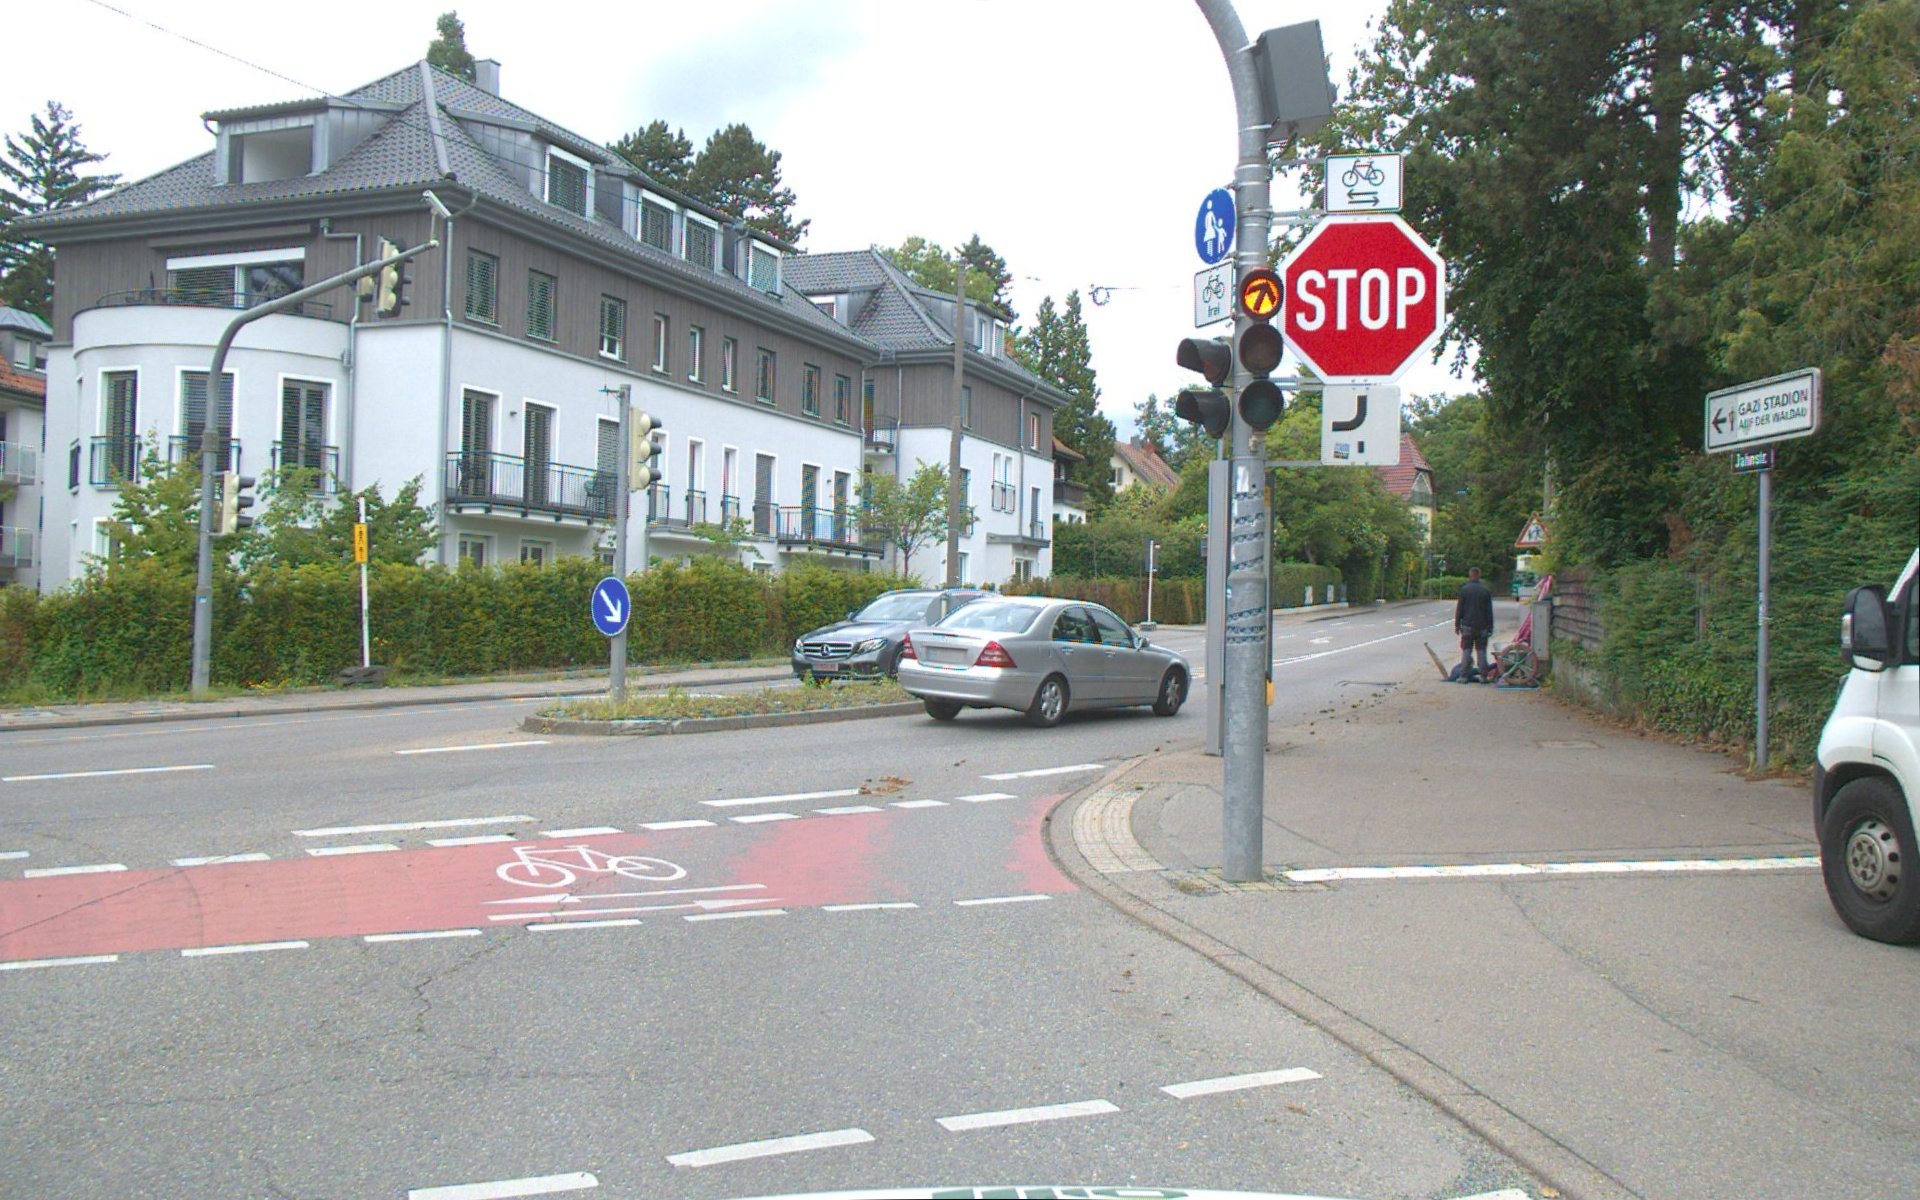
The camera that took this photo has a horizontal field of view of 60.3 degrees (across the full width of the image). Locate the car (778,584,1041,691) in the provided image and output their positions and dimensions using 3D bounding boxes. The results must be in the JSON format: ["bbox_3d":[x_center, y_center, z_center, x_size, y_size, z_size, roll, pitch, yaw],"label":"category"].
[{"bbox_3d":[-0.679,0.517,26.176,1.793,1.511,4.734,0,1,33],"label":"car"}]

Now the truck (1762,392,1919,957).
[{"bbox_3d":[5.213,0.324,5.317,2.347,2.393,6.189,1,0,1],"label":"truck"}]

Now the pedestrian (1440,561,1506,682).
[{"bbox_3d":[8.507,0.345,27.460,0.828,1.957,0.801,1,1,1],"label":"pedestrian"}]

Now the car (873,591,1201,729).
[{"bbox_3d":[1.032,0.654,19.674,1.768,1.439,4.317,1,0,37],"label":"car"}]

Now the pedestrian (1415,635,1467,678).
[{"bbox_3d":[8.272,0.968,28.464,0.635,0.709,0.582,0,1,-20],"label":"pedestrian"}]

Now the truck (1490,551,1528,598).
[{"bbox_3d":[43.840,-2.008,132.013,2.719,3.522,7.496,1,0,19],"label":"truck"}]
